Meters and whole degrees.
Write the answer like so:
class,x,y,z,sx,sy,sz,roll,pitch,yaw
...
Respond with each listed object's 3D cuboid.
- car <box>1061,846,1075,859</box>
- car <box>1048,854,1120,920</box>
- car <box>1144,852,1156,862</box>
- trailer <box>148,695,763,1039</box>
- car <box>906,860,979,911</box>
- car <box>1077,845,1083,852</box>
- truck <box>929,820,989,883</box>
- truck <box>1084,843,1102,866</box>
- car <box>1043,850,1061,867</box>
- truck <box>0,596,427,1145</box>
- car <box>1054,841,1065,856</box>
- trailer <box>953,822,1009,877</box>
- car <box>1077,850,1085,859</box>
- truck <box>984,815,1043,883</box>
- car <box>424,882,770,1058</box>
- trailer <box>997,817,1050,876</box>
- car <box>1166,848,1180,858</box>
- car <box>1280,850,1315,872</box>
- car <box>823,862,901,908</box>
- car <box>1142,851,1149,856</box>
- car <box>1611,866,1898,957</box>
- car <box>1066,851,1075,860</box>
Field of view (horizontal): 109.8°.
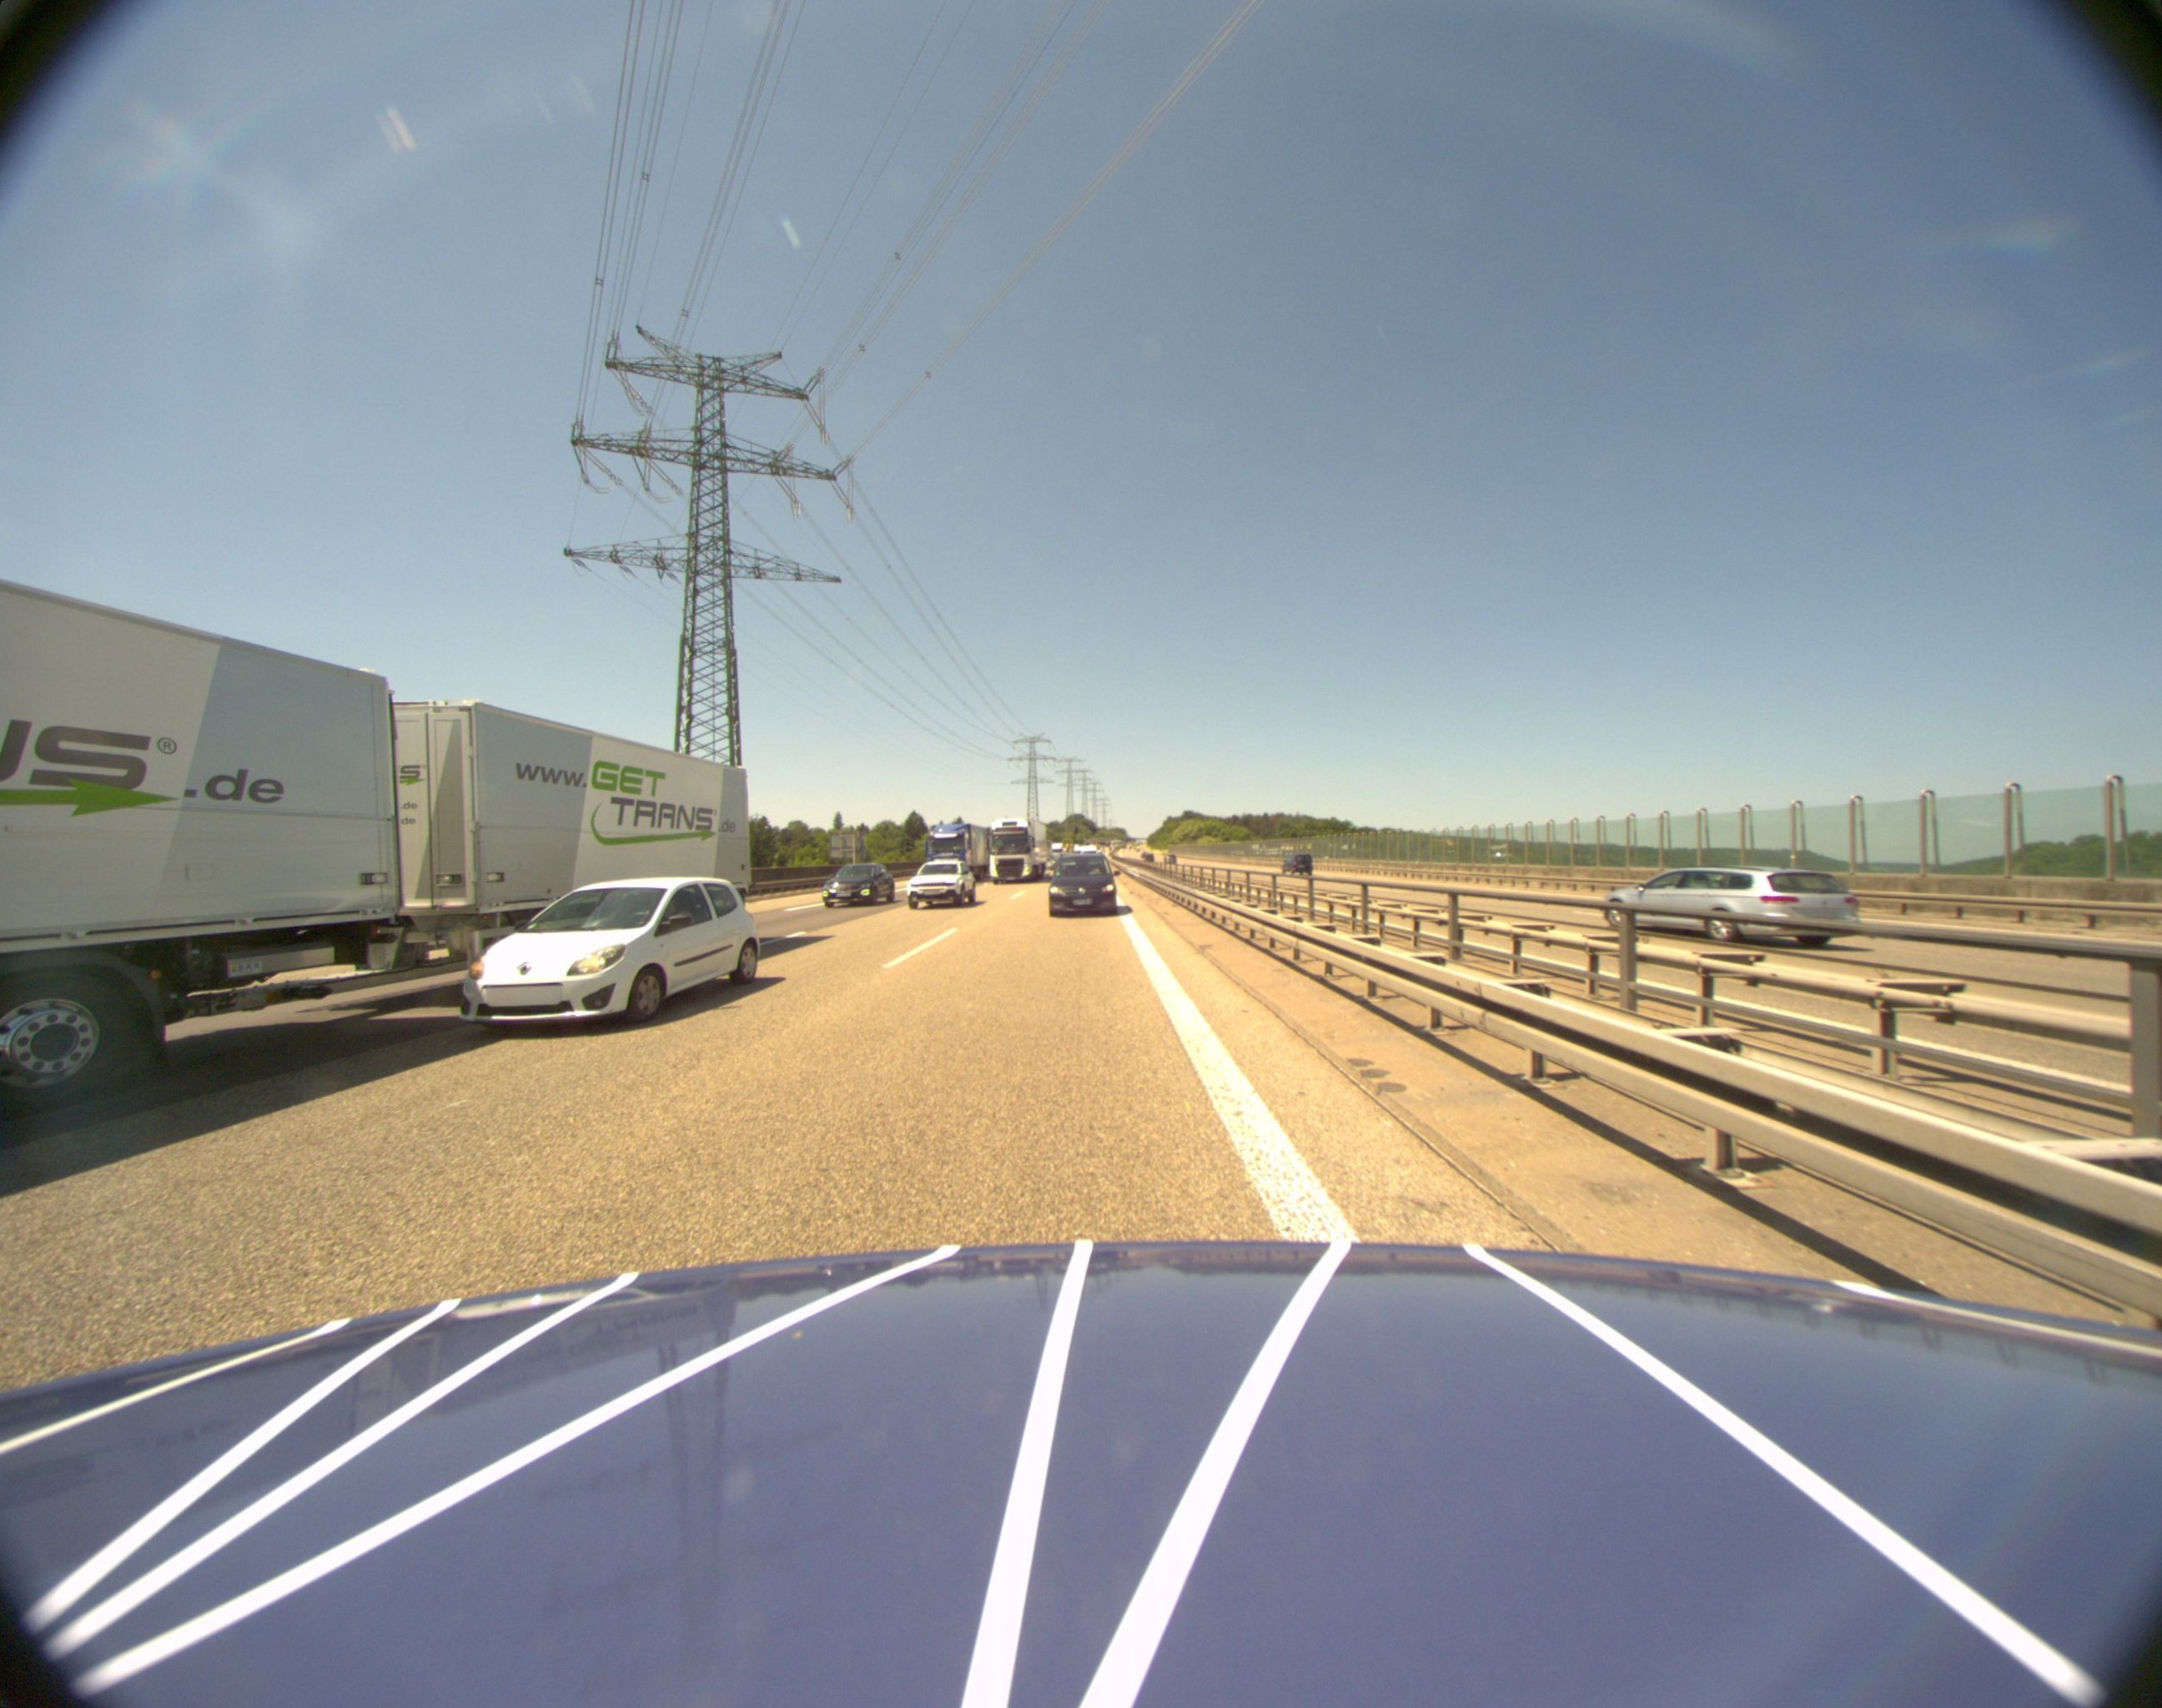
class,x,y,z,sx,sy,sz,roll,pitch,yaw
car,-2.068,-0.240,120.025,1.998,2.002,4.000,-2,1,1
car,0.095,0.819,20.821,1.739,1.607,3.911,-2,0,0
car,12.296,0.490,134.980,1.759,1.711,4.101,0,0,1
trailer,-8.406,0.146,12.257,2.851,3.573,8.291,-2,0,1
car,-4.643,1.025,25.941,1.722,1.526,3.753,-2,0,0
car,-0.273,-1.583,212.501,1.781,2.002,3.999,-2,1,1
truck,-8.236,-0.138,52.298,2.517,3.944,7.928,-2,0,2
truck,1.515,0.046,93.552,2.100,2.700,5.864,-2,1,1
car,-3.136,0.483,82.783,1.672,1.761,3.846,-2,1,1
truck,-8.480,0.143,2.688,2.858,3.581,10.768,-2,0,0
car,-4.898,-1.321,176.727,2.273,3.303,6.288,-2,1,0
trailer,-7.925,-0.397,61.699,2.543,3.971,10.885,-2,1,2
car,0.059,0.153,188.423,1.890,2.002,3.999,-2,1,1
truck,-4.147,-0.320,48.083,2.914,3.869,6.740,-2,1,0
car,-5.168,1.129,8.760,1.583,1.432,3.629,-2,0,1
trailer,-4.087,-0.553,56.341,2.898,3.847,9.773,-2,1,1
car,14.737,-0.139,122.025,1.759,1.538,4.000,1,1,1
car,18.218,0.584,64.090,1.787,1.774,4.302,0,0,0
car,-8.095,1.114,28.421,1.709,1.497,3.889,-2,0,1
car,17.655,-0.128,208.863,1.784,1.560,4.388,1,0,5
car,12.752,1.002,14.827,1.915,1.386,4.165,0,1,1
car,-2.043,0.276,151.503,1.701,1.599,3.639,-2,1,1
